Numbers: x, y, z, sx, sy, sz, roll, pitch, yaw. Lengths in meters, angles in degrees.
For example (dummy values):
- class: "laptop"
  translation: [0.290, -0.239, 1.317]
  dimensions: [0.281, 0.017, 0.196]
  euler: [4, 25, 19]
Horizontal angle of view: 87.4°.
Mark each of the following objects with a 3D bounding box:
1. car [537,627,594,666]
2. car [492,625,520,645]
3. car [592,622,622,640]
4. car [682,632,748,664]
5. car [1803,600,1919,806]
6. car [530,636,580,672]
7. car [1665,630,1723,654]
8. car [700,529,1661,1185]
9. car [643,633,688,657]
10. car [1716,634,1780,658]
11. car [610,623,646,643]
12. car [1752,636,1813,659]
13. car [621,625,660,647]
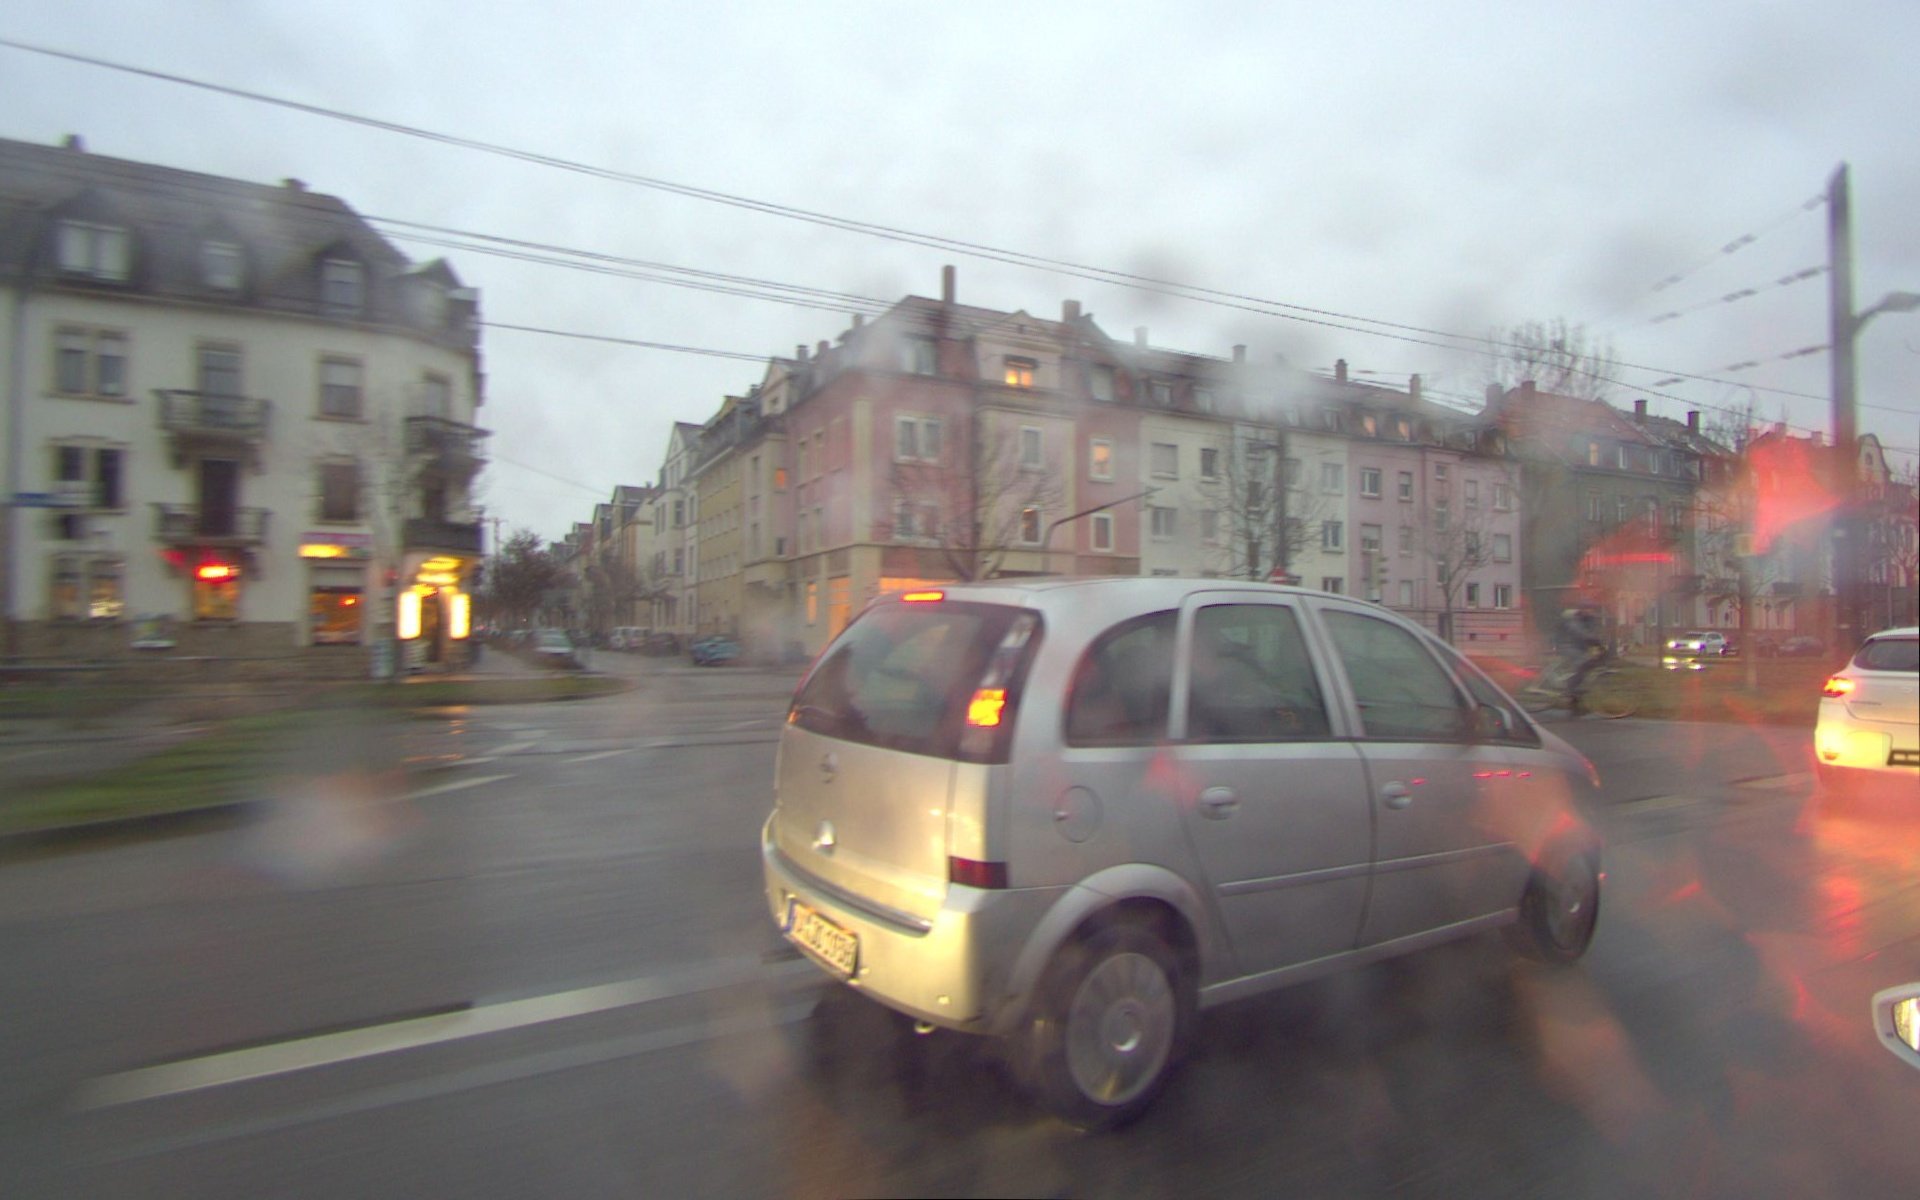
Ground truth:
- class: "car"
  translation: [-16.033, 1.851, 40.751]
  dimensions: [1.772, 1.505, 3.972]
  euler: [1, -2, -27]
- class: "car"
  translation: [-35.524, 2.734, 78.611]
  dimensions: [1.772, 1.505, 3.972]
  euler: [1, -2, -27]
- class: "car"
  translation: [-29.871, 2.590, 84.945]
  dimensions: [1.974, 1.439, 3.973]
  euler: [1, -2, -27]
- class: "car"
  translation: [-11.955, 2.318, 48.910]
  dimensions: [1.978, 1.439, 3.965]
  euler: [1, -2, -32]
- class: "car"
  translation: [9.330, 0.855, 8.880]
  dimensions: [4.006, 1.621, 1.664]
  euler: [1, -1, -31]
- class: "car"
  translation: [-18.308, 2.404, 45.321]
  dimensions: [1.772, 1.505, 3.972]
  euler: [1, -2, -27]
- class: "car"
  translation: [48.606, 2.784, 66.533]
  dimensions: [3.512, 1.520, 1.769]
  euler: [1, -2, -28]
- class: "car"
  translation: [1.128, 0.685, 4.355]
  dimensions: [4.010, 1.621, 1.799]
  euler: [1, -1, -33]
- class: "car"
  translation: [-18.547, 2.816, 63.137]
  dimensions: [1.975, 1.439, 3.972]
  euler: [1, -2, -27]
- class: "car"
  translation: [48.048, 2.795, 61.239]
  dimensions: [3.512, 1.372, 1.769]
  euler: [1, -2, -28]
- class: "car"
  translation: [-24.919, 2.452, 75.323]
  dimensions: [1.974, 1.439, 3.973]
  euler: [1, -2, -27]
- class: "car"
  translation: [51.777, 2.959, 63.242]
  dimensions: [3.512, 1.372, 1.769]
  euler: [1, -2, -28]
- class: "car"
  translation: [-22.372, 2.487, 70.211]
  dimensions: [1.974, 1.439, 3.973]
  euler: [1, -2, -27]
